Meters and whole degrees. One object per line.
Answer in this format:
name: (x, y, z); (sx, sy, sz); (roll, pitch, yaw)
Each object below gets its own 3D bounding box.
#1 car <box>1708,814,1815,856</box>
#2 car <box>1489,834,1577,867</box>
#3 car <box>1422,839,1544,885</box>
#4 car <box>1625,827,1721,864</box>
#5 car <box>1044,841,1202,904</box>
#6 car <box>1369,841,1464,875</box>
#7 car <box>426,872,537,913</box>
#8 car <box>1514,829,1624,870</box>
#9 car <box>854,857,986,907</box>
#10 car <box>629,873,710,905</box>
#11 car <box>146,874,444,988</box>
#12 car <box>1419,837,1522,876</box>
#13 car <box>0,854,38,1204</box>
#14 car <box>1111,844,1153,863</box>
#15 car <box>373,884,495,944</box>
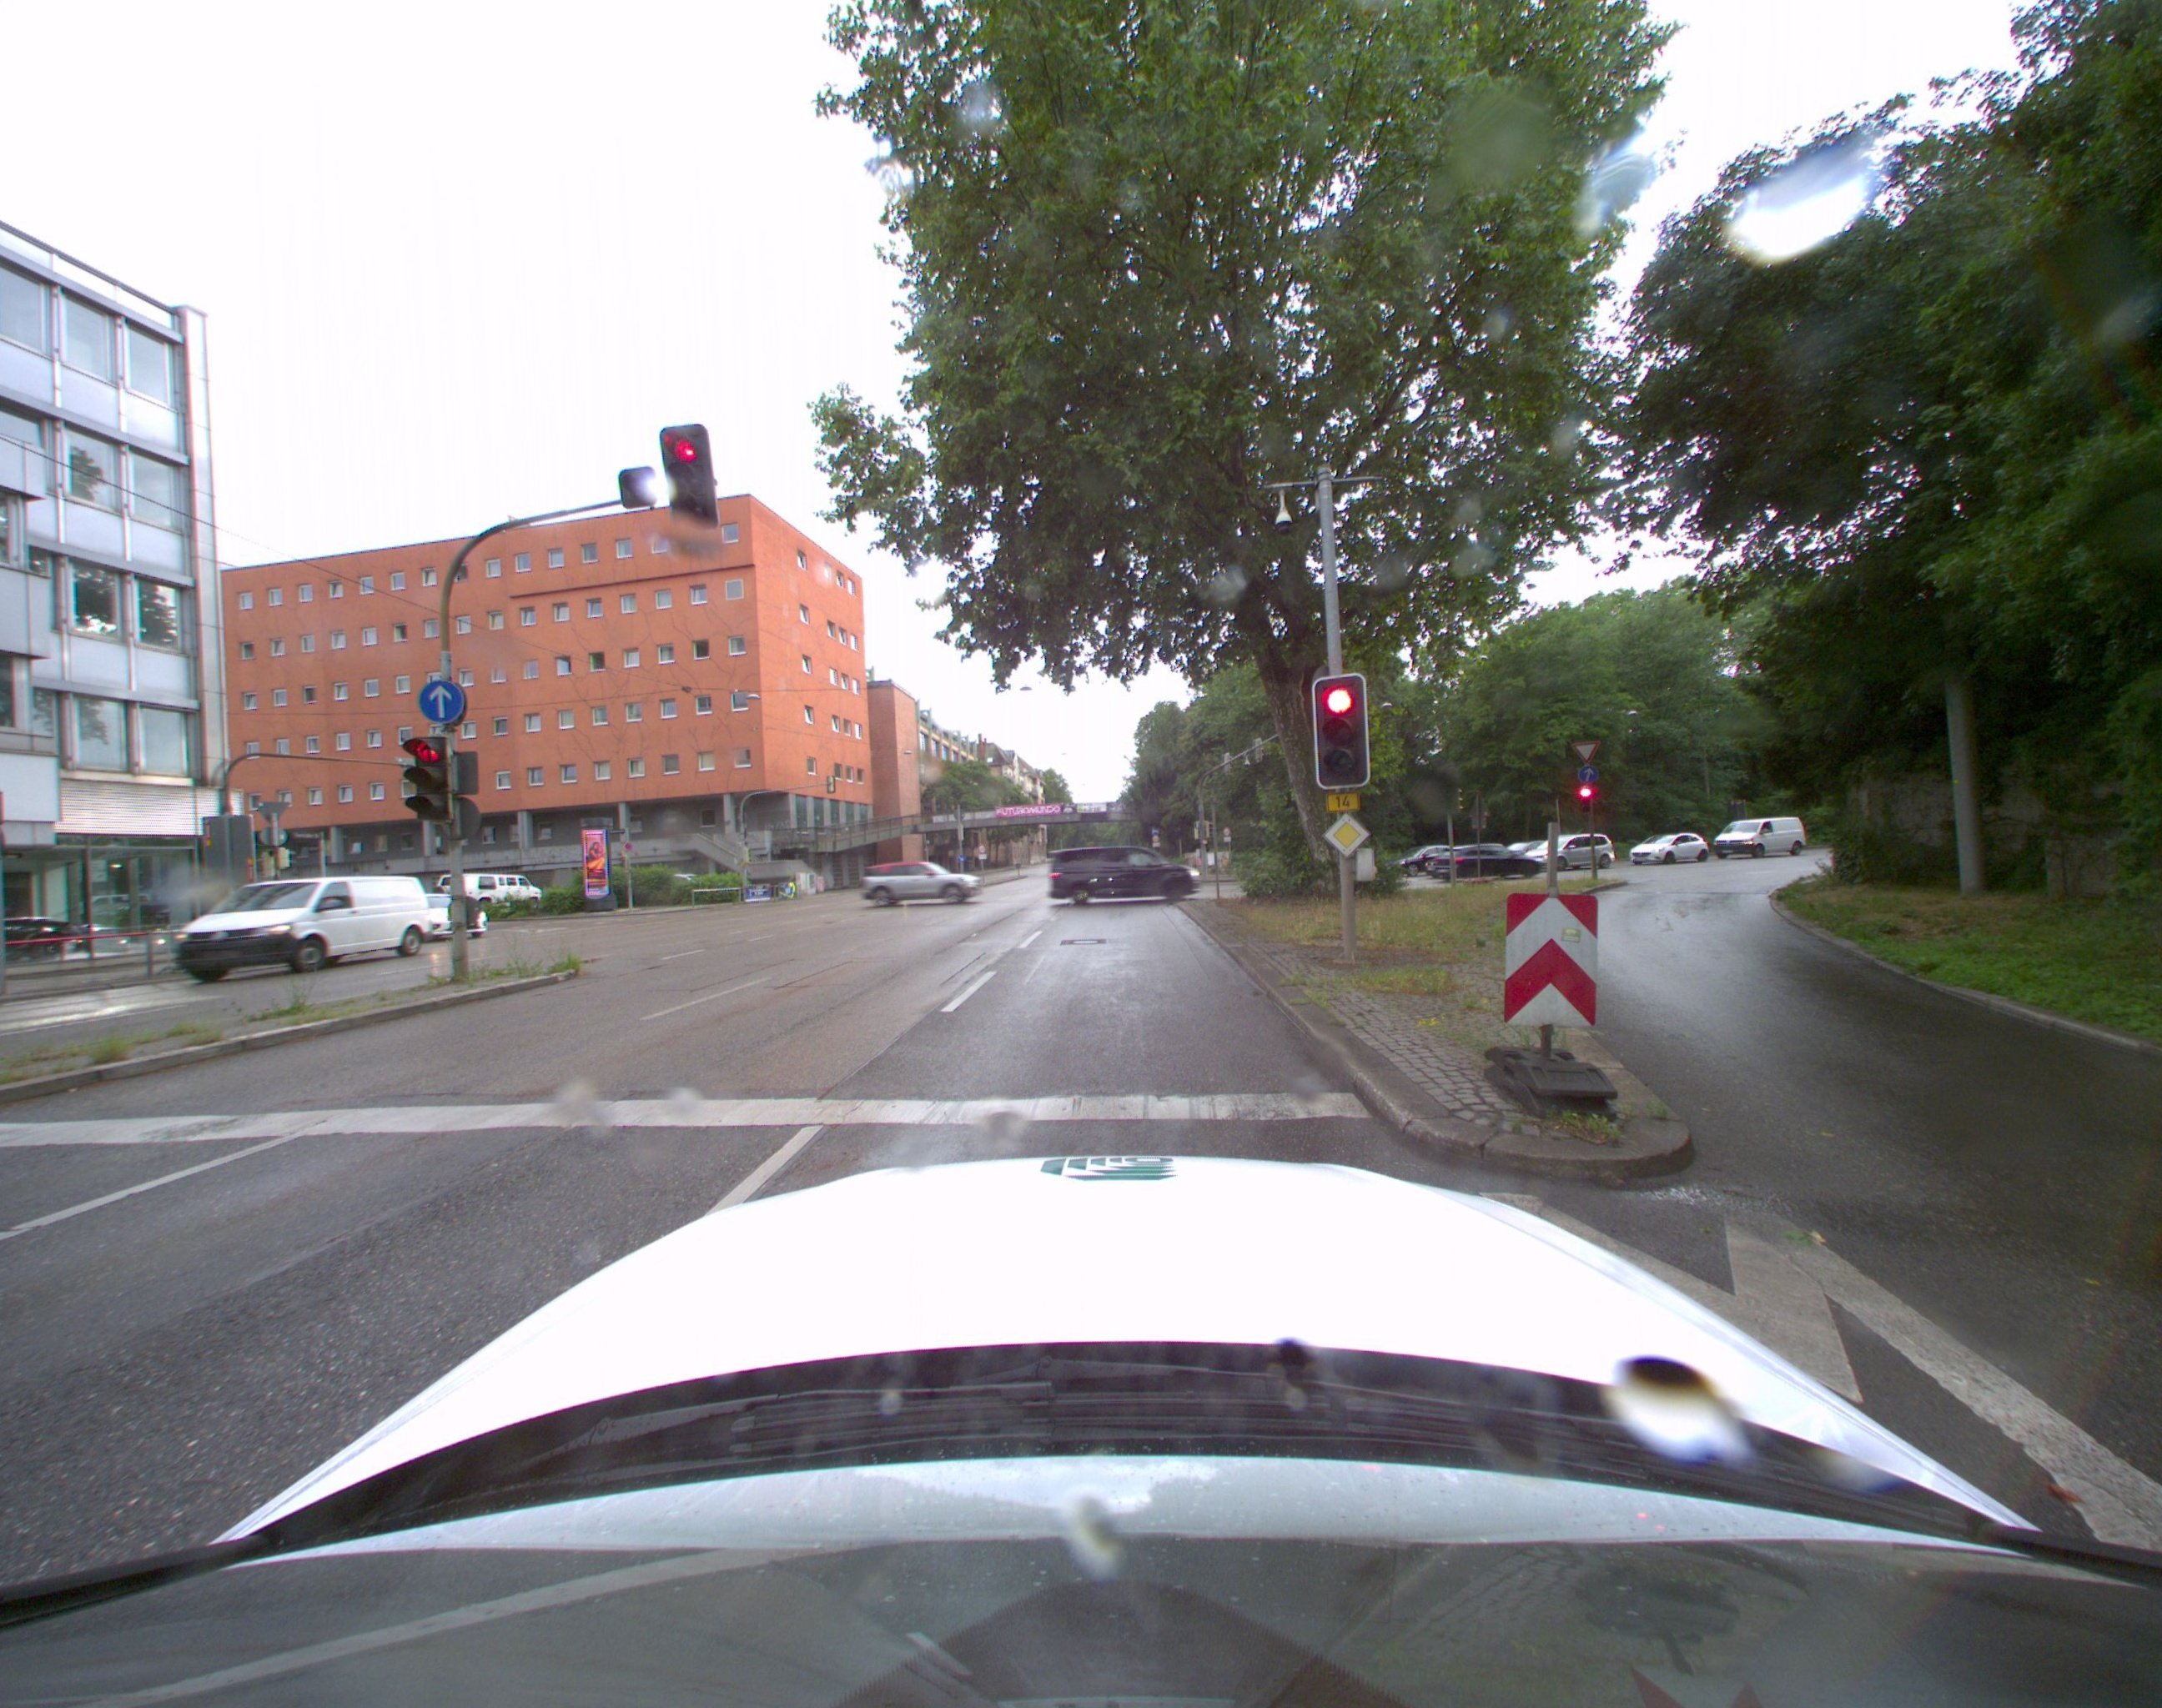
car: (34.867, -0.966, 41.724); (4.858, 1.922, 1.897); (-3, -1, -18)
car: (22.915, -0.188, 41.318); (3.834, 1.486, 1.734); (-3, 0, -18)
car: (16.025, 0.319, 32.534); (4.133, 1.446, 1.580); (-5, -1, -8)
car: (29.014, -0.418, 39.918); (3.999, 1.486, 1.763); (-4, -1, -18)
car: (1.389, 0.610, 27.471); (5.058, 1.846, 2.000); (-2, -1, 1)
car: (16.375, 0.202, 39.804); (3.998, 1.486, 1.867); (-2, -1, -18)
car: (-32.802, 2.073, 44.779); (1.982, 2.014, 4.864); (1, 0, 9)
car: (22.566, -0.196, 37.713); (4.265, 1.486, 1.766); (-5, -1, -14)
car: (-6.076, 1.053, 31.051); (4.490, 1.637, 1.883); (-3, 0, 4)
car: (-25.287, 2.134, 50.085); (3.988, 1.618, 1.900); (-5, -1, 11)
car: (-16.560, 1.482, 17.683); (1.994, 1.932, 5.193); (-5, -1, -10)
car: (17.157, 0.117, 35.916); (3.859, 1.485, 1.665); (-2, -1, -13)
car: (-6.100, 0.853, 1.573); (1.938, 1.597, 4.676); (-1, 1, 5)
car: (4.862, -0.046, 78.299); (1.887, 1.637, 4.481); (-2, 0, -30)
car: (-21.040, 1.982, 26.429); (4.762, 1.637, 2.013); (-5, -1, 39)
